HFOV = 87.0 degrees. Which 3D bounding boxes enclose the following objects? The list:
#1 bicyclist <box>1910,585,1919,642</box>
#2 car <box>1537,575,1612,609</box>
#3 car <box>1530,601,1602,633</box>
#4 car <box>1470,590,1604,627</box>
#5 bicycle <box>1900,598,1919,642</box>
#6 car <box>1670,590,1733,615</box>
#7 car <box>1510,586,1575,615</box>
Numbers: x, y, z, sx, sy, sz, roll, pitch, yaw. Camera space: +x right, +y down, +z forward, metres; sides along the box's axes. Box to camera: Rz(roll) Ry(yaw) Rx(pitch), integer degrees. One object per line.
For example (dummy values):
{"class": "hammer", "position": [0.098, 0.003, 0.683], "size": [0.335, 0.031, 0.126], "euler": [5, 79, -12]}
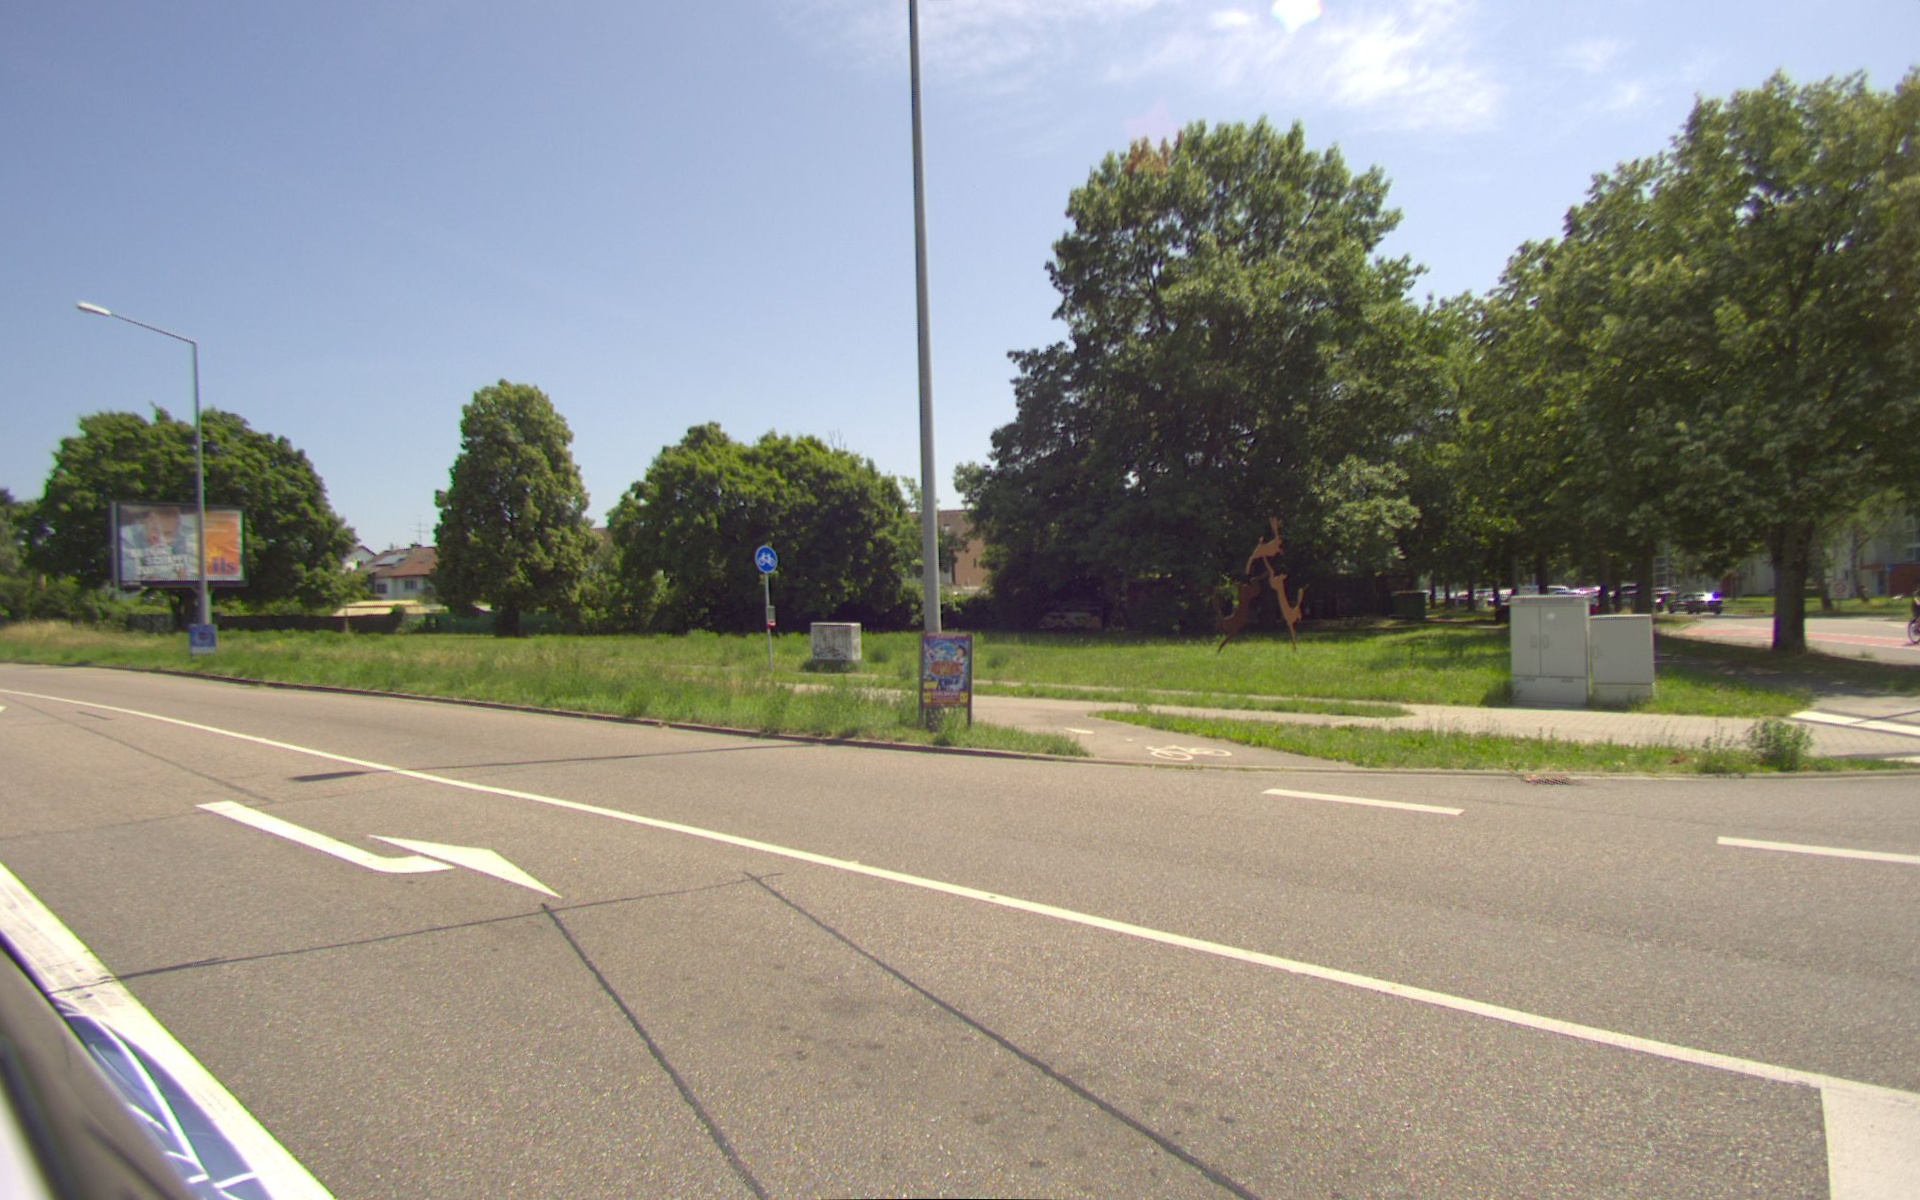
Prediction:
{"class": "bicyclist", "position": [29.158, 0.409, 30.247], "size": [0.767, 1.705, 0.893], "euler": [-1, 0, 18]}
{"class": "car", "position": [41.252, -0.552, 68.043], "size": [3.971, 2.028, 1.987], "euler": [-2, 3, 21]}
{"class": "car", "position": [42.284, 1.177, 70.672], "size": [3.971, 2.028, 1.987], "euler": [-2, 3, 21]}
{"class": "car", "position": [24.752, 0.392, 43.596], "size": [1.966, 1.479, 4.597], "euler": [-1, -1, -32]}
{"class": "bicycle", "position": [29.137, 0.609, 30.203], "size": [0.767, 1.309, 2.049], "euler": [-1, 0, 18]}
{"class": "car", "position": [48.759, 0.160, 66.662], "size": [1.896, 1.510, 4.605], "euler": [-1, 0, 17]}
{"class": "car", "position": [44.621, 0.020, 77.561], "size": [3.971, 2.028, 1.987], "euler": [-2, 3, 21]}
